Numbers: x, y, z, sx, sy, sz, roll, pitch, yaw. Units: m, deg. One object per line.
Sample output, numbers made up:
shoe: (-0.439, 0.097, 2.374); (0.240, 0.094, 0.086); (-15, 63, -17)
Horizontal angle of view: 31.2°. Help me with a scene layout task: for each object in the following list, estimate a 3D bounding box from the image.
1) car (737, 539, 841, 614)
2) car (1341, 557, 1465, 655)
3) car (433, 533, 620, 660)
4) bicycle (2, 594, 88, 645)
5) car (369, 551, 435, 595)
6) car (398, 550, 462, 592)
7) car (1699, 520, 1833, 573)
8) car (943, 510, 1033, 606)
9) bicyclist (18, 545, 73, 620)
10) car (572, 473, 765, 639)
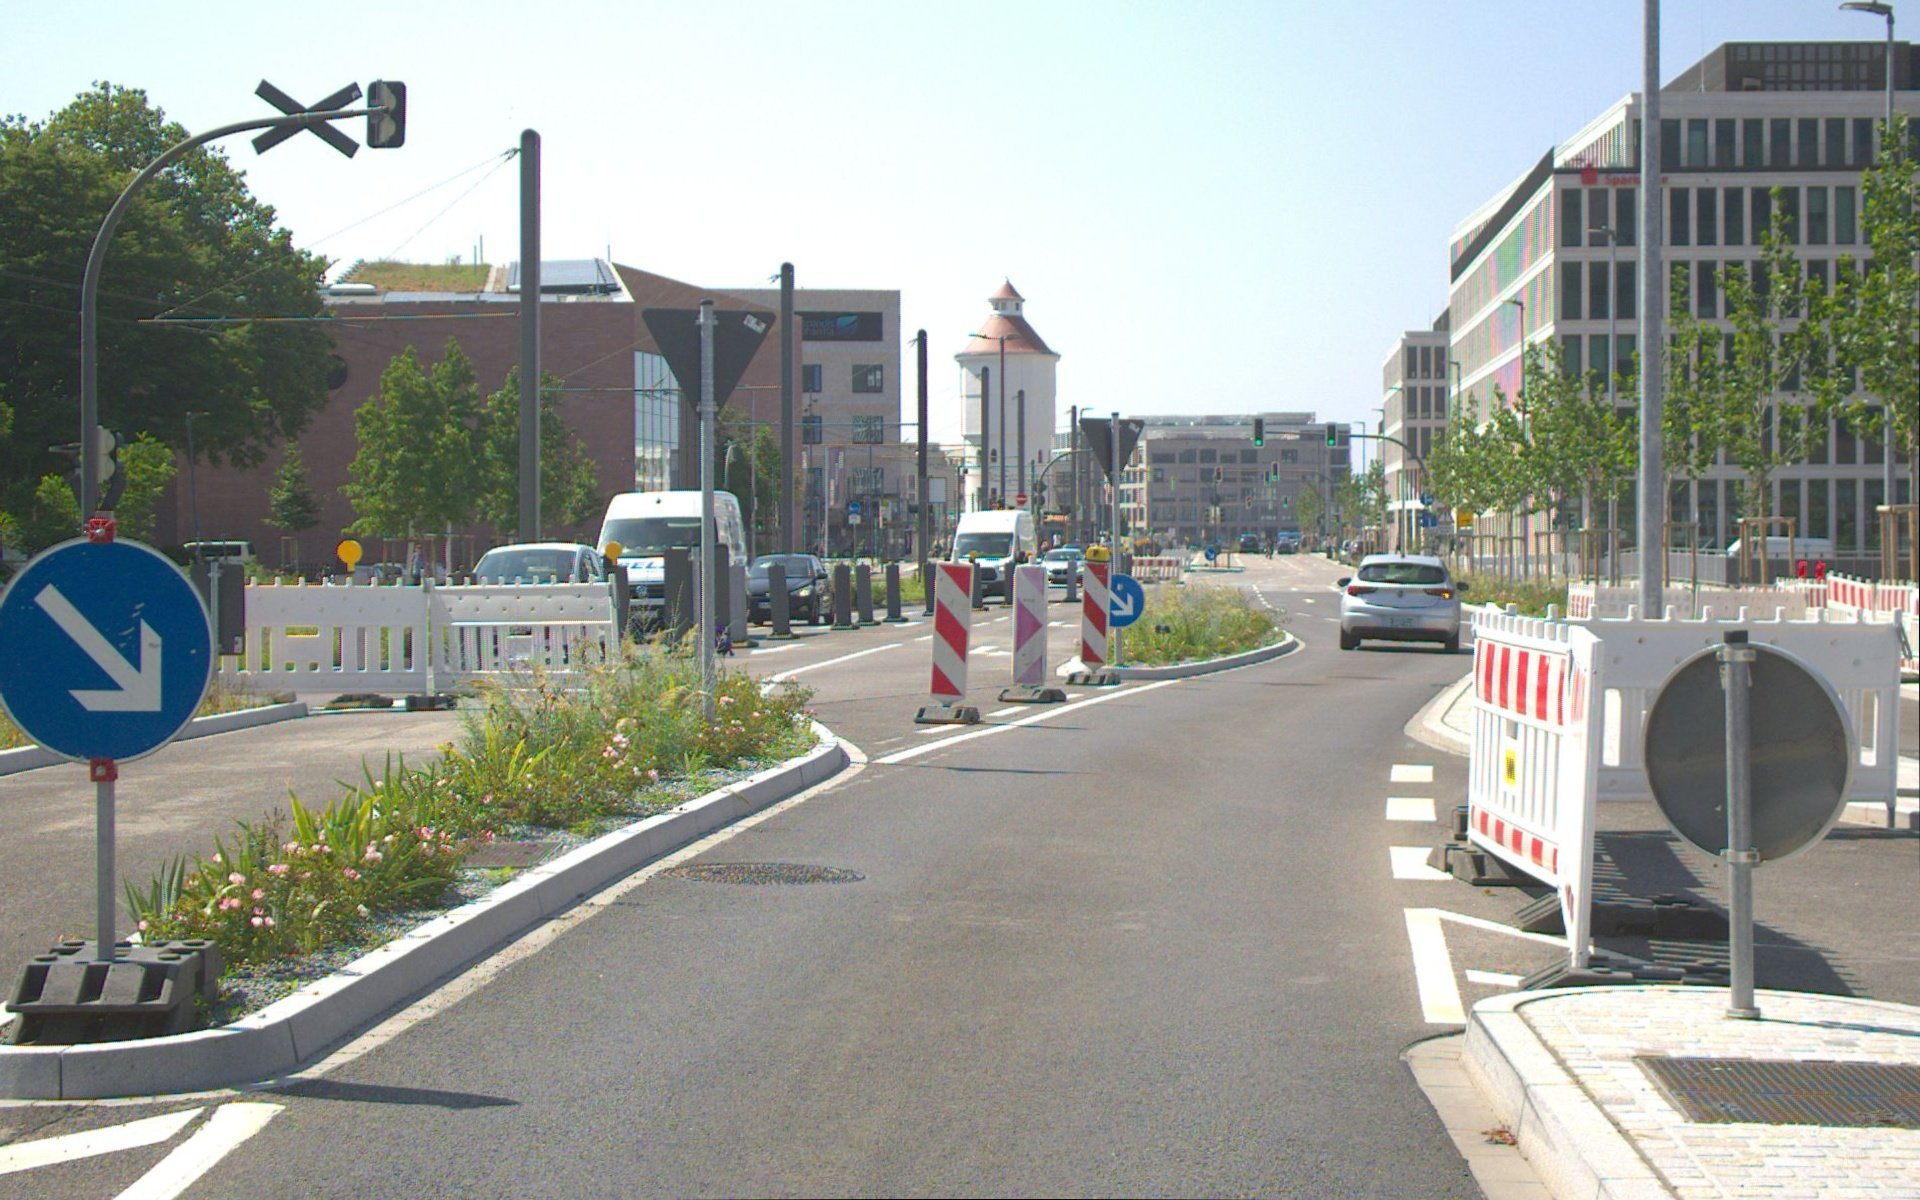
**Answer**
car: (-3.513, -0.506, 71.266); (1.546, 1.452, 4.192); (-2, 1, 5)
car: (6.700, 0.089, 52.268); (1.772, 1.390, 3.531); (2, 0, 6)
car: (-5.632, -0.075, 45.111); (1.580, 1.536, 3.977); (-2, 1, 5)
bicycle: (-18.920, 0.398, 71.148); (0.754, 1.014, 2.830); (1, 1, 6)
car: (-22.540, -1.101, 138.963); (1.698, 1.755, 3.939); (1, 1, 5)
car: (-22.339, -1.221, 144.973); (1.698, 1.755, 4.300); (1, 1, 5)
car: (38.163, -2.529, 162.947); (5.838, 2.262, 2.146); (2, 2, 5)
car: (0.871, -1.261, 102.404); (2.077, 2.730, 5.985); (-2, 1, 6)
bicyclist: (-18.907, -0.367, 71.067); (0.754, 1.534, 1.077); (1, 0, 6)
car: (-4.851, -0.744, 58.178); (2.031, 2.570, 6.193); (-2, 1, 6)
